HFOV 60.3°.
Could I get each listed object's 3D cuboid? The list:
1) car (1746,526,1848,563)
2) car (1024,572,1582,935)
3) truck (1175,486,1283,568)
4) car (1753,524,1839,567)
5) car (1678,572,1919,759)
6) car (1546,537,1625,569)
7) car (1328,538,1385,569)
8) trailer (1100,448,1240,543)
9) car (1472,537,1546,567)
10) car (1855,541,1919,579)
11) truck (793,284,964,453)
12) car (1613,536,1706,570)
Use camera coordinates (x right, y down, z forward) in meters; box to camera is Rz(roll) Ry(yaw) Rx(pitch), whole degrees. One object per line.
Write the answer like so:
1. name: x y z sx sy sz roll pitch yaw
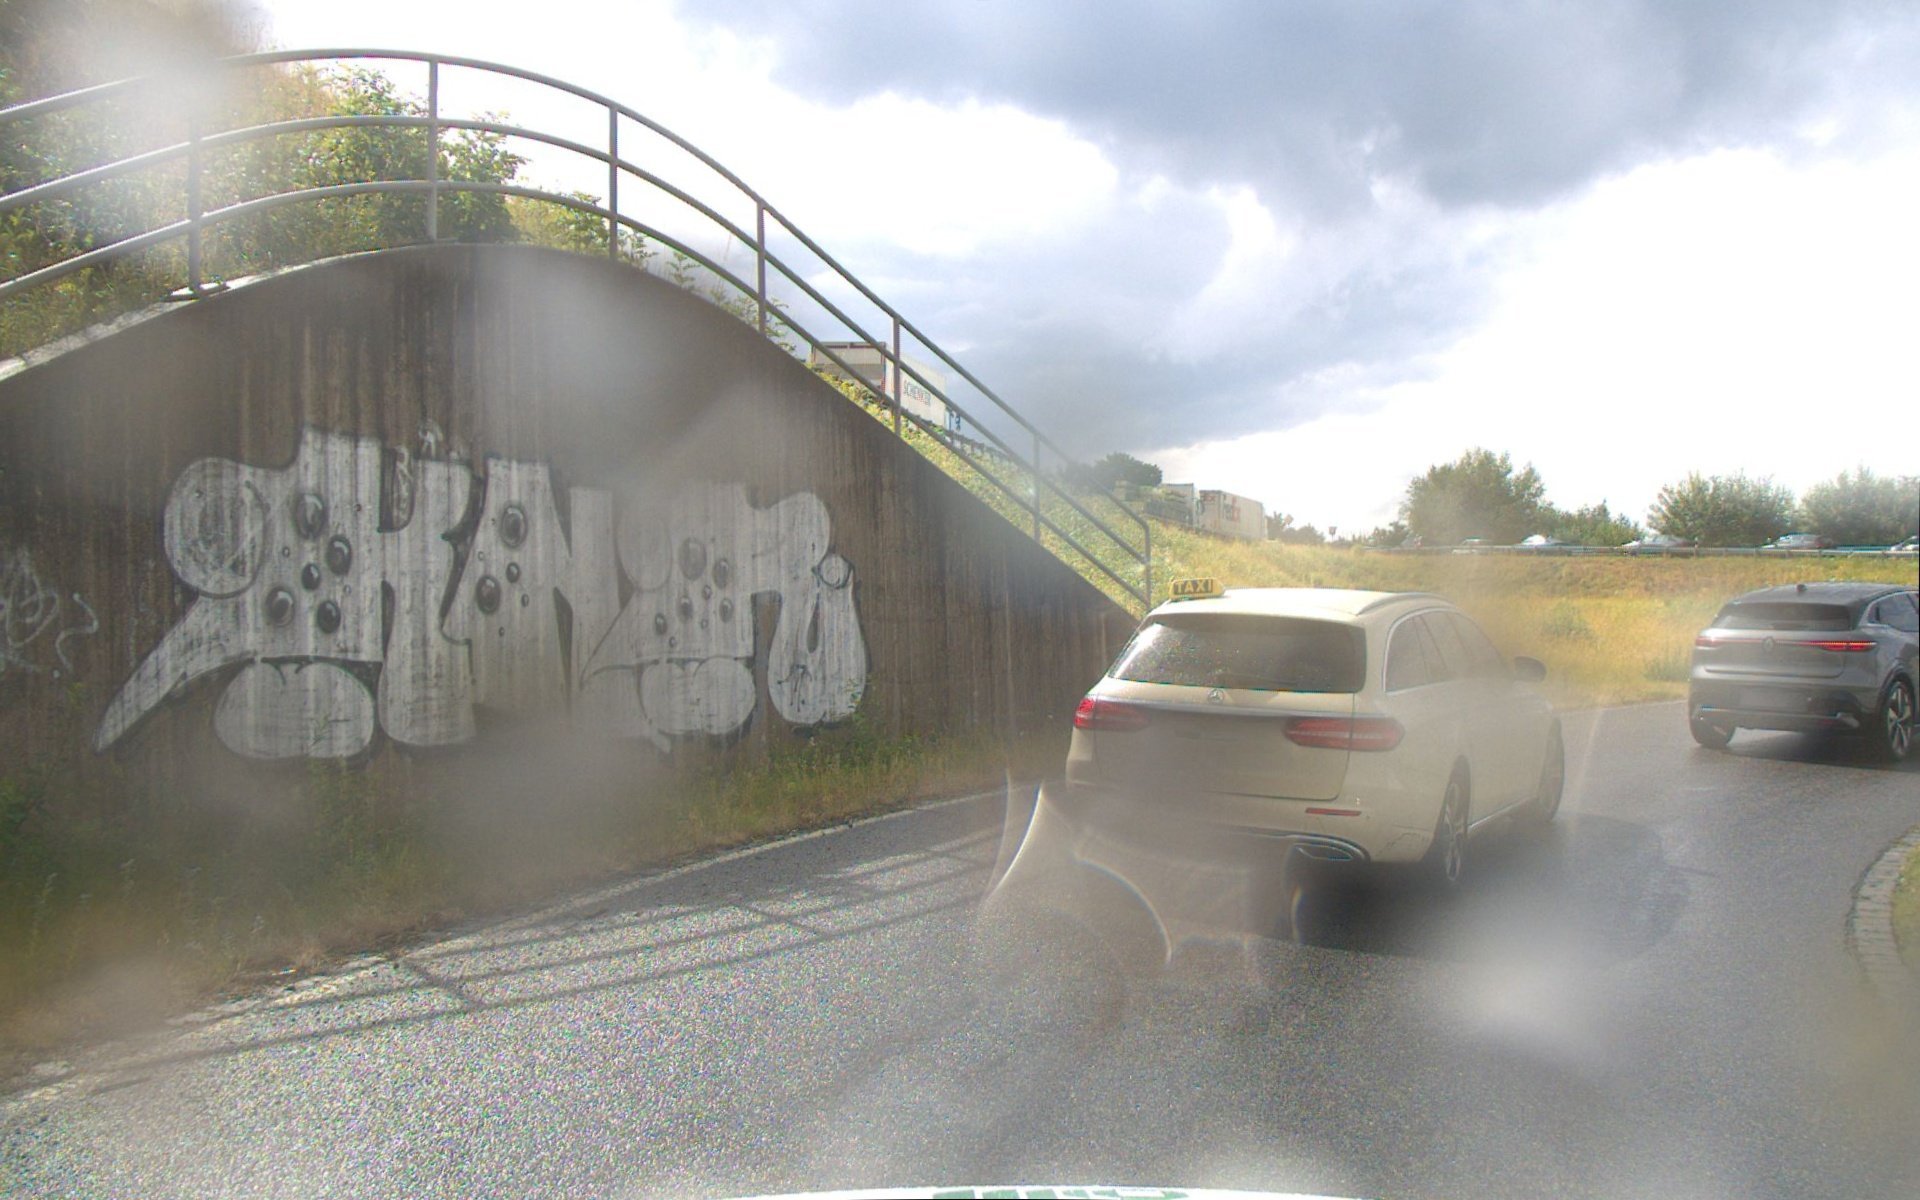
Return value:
1. car: 48.046 -3.161 95.045 1.970 1.894 5.012 0 -1 -27
2. car: 2.226 0.625 9.465 1.880 1.533 4.589 0 0 29
3. truck: 20.089 -5.142 121.752 4.368 4.582 19.378 0 -2 20
4. car: 47.684 -3.080 94.432 1.970 2.049 3.963 1 -4 -27
5. car: 8.529 0.527 15.696 3.966 1.551 1.697 -1 0 -42
6. car: 40.842 -3.039 108.068 1.985 1.894 4.438 0 -1 -44
7. car: 28.096 -3.286 117.143 3.902 2.049 1.828 1 -2 15
8. trailer: 13.510 -6.239 103.432 4.322 4.025 20.220 0 -2 20
9. car: 38.424 -3.308 115.841 1.971 1.894 5.011 0 -1 -28
10. car: 50.435 -2.103 87.714 1.969 1.894 5.015 0 -1 -26
11. truck: -2.507 -7.497 55.251 3.112 4.036 9.243 1 -2 14
12. car: 43.034 -2.883 101.849 1.978 1.894 4.992 0 -1 -36
